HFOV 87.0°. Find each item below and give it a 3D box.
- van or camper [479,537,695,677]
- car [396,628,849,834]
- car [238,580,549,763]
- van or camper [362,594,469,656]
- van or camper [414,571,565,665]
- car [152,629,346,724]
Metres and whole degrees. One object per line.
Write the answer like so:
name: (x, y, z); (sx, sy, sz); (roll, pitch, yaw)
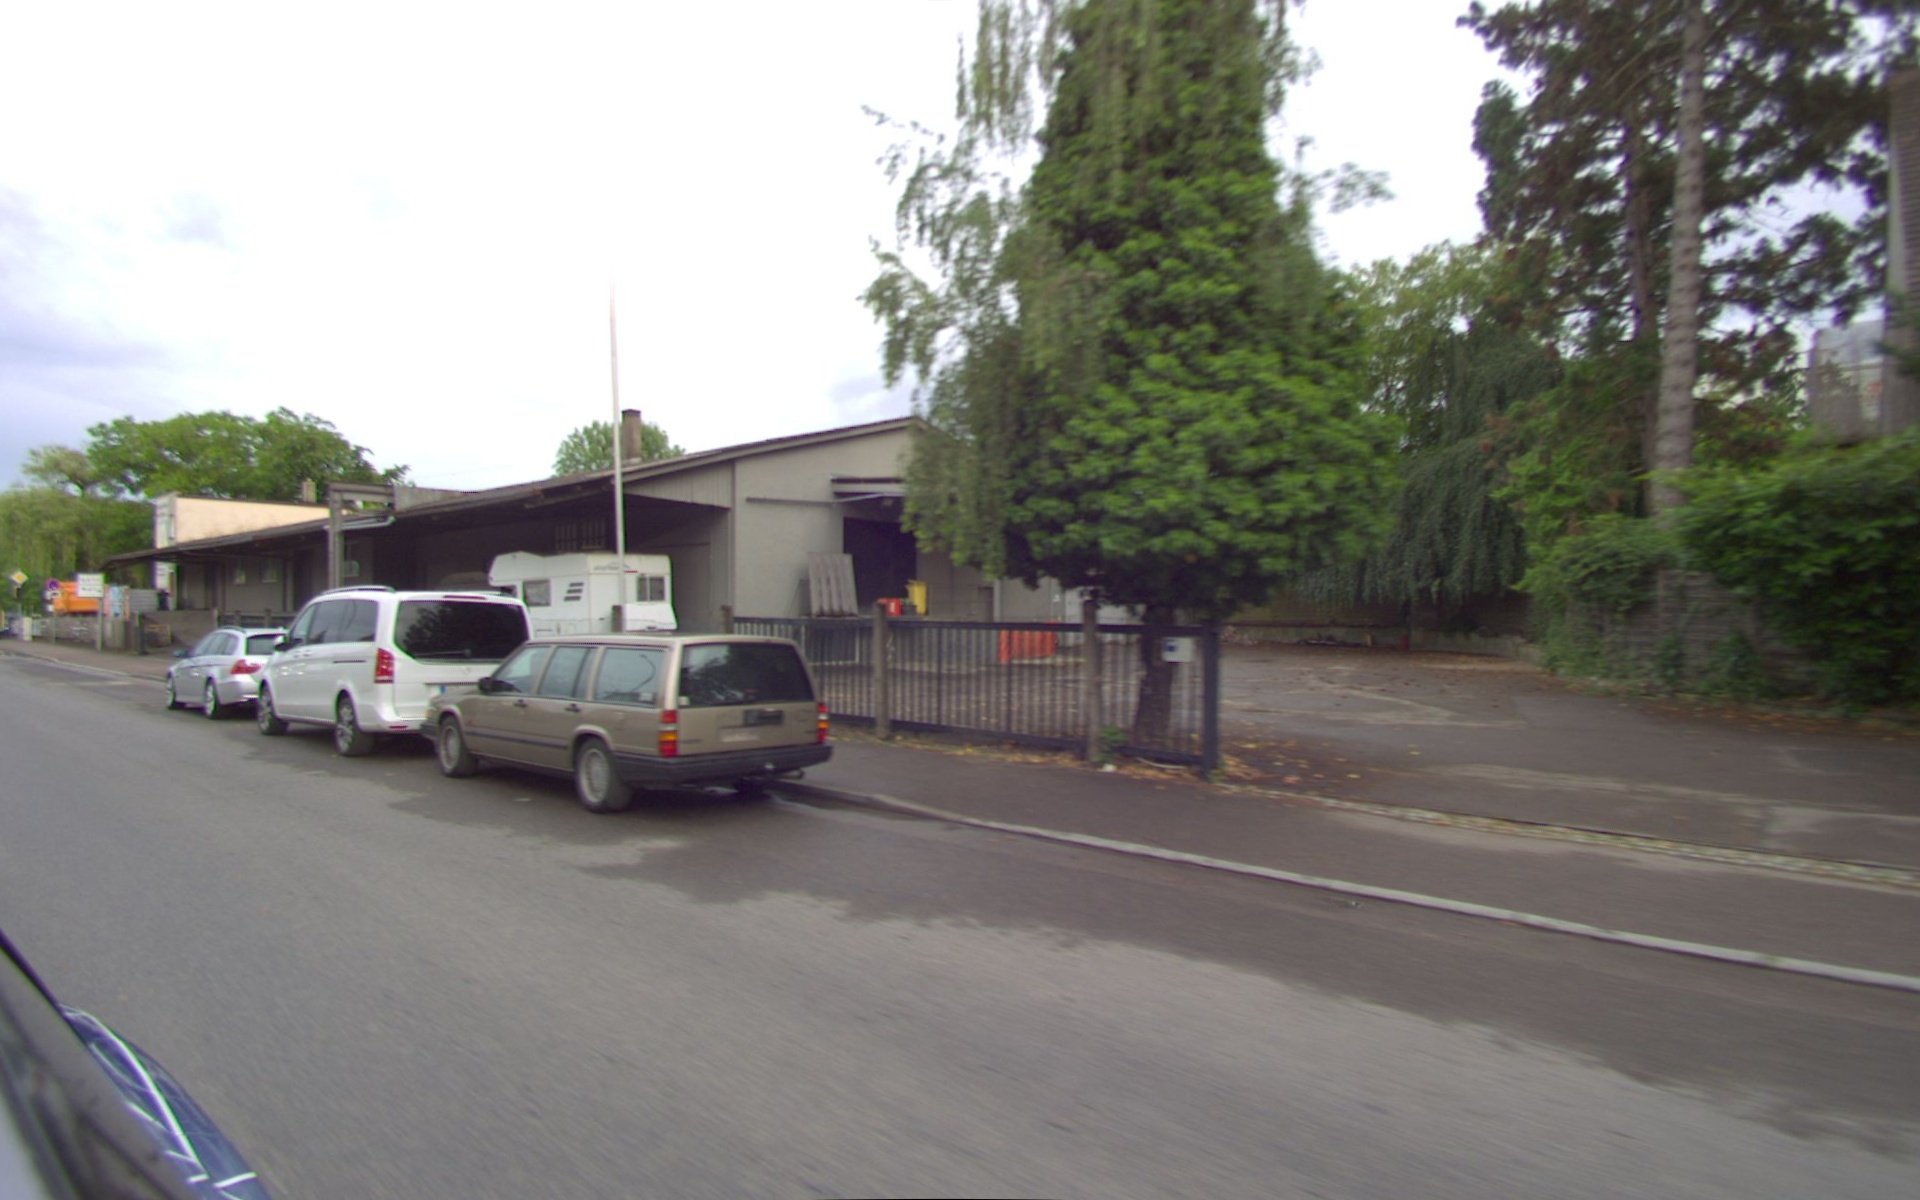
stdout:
van or camper: (-9.335, 0.182, 24.982); (6.147, 3.058, 2.280); (-1, 0, 41)
car: (-3.384, 1.000, 9.507); (4.979, 1.438, 1.797); (-1, -3, 42)
car: (-7.418, 0.812, 12.973); (5.208, 1.906, 1.873); (-1, -3, 42)
van or camper: (-18.456, 0.830, 34.239); (4.374, 1.950, 1.901); (-1, 0, 43)
van or camper: (-13.690, 0.508, 29.280); (5.194, 2.509, 1.973); (-1, 0, 41)
car: (-12.089, 1.193, 17.075); (4.705, 1.375, 1.621); (-1, -3, 42)
